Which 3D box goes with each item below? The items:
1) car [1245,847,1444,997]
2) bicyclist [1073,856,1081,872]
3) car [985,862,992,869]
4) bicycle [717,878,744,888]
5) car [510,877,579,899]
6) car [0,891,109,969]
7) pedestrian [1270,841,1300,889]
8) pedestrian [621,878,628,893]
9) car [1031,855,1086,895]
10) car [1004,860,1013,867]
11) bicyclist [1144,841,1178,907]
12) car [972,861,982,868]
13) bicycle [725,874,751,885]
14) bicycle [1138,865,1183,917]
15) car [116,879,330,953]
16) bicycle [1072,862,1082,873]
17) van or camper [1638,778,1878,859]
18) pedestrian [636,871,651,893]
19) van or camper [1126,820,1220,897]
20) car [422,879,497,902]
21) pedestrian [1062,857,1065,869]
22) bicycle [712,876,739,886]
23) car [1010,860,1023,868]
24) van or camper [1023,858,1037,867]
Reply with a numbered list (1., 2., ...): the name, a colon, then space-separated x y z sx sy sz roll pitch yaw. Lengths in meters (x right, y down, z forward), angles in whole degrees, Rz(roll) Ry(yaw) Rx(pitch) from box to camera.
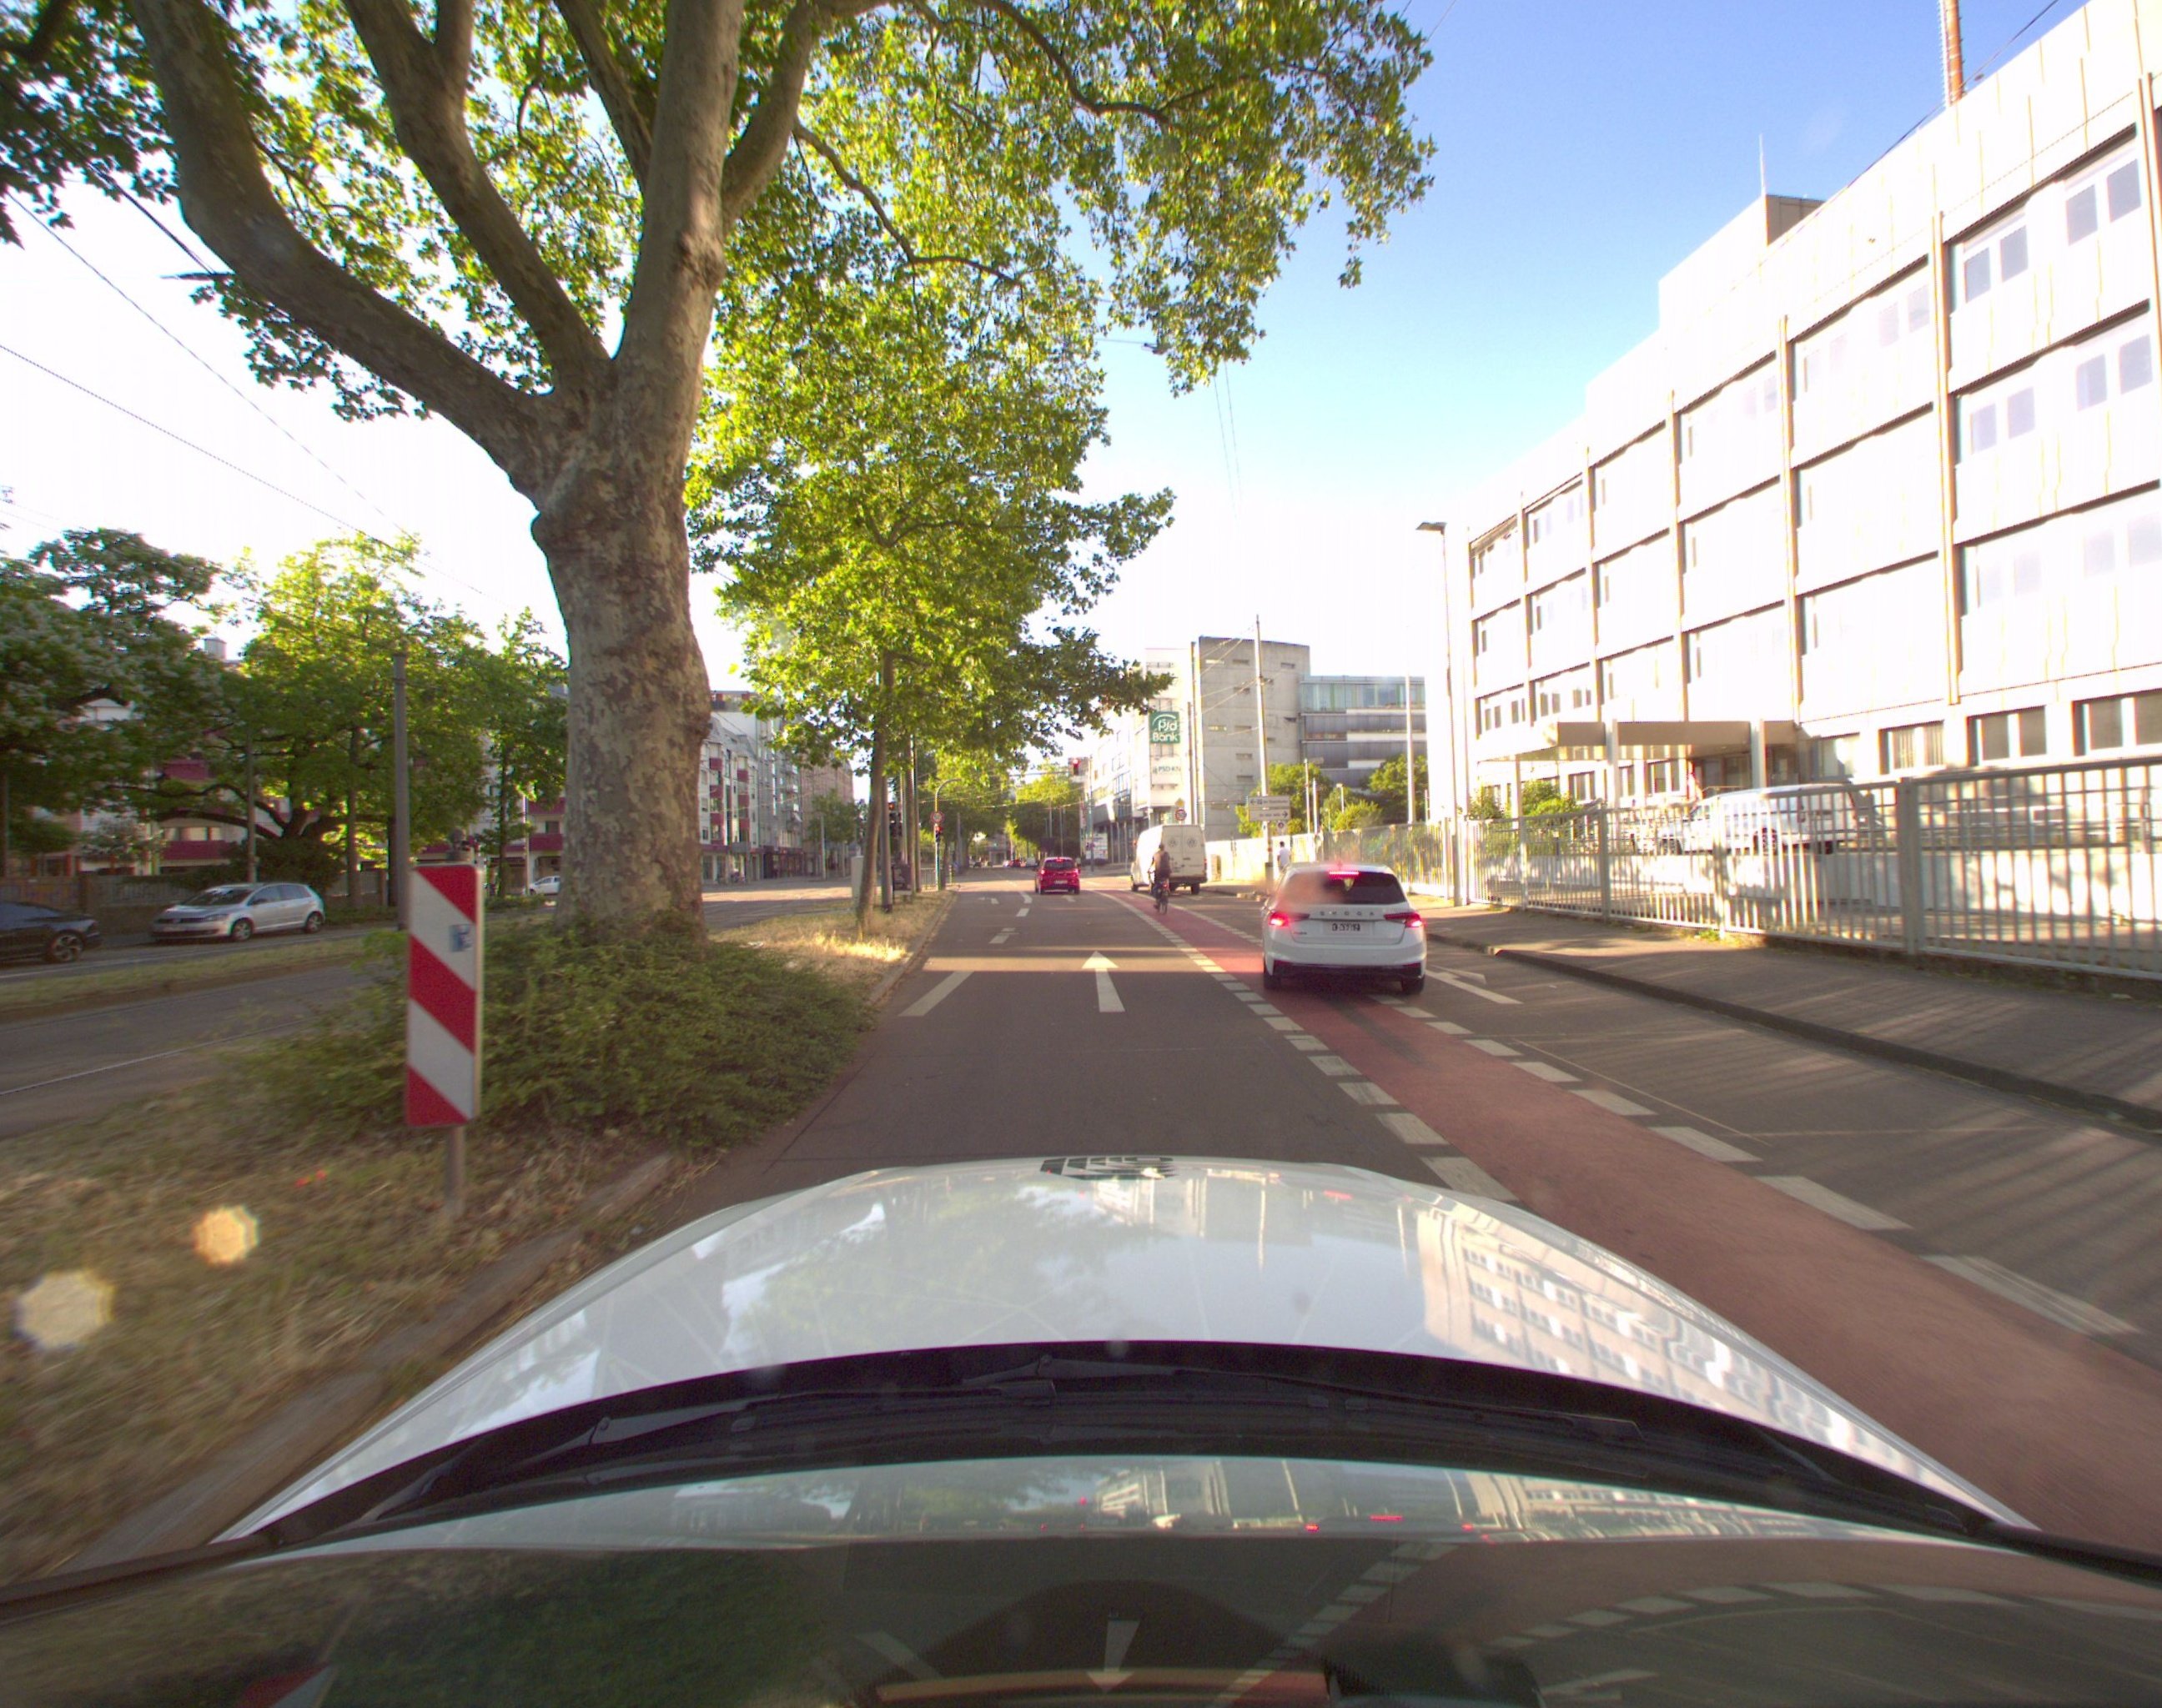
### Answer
1. car: 3.062 0.703 10.259 1.791 1.501 3.992 -1 0 9
2. bicyclist: -0.449 1.022 85.951 0.784 1.635 0.637 -2 0 -6
3. car: -23.577 2.945 207.637 1.657 1.607 3.520 -3 0 -9
4. bicycle: -32.524 2.670 75.626 2.170 0.787 0.490 -2 0 -12
5. car: -40.801 2.568 62.062 4.000 1.464 1.790 -3 0 -20
6. car: -22.499 1.594 15.871 1.994 1.476 4.633 -2 0 -10
7. pedestrian: 7.734 0.411 30.889 0.786 1.748 0.770 -3 0 -9
8. pedestrian: -36.198 2.502 64.562 0.304 1.214 0.317 -3 0 -13
9. car: -0.995 0.836 33.592 1.838 1.489 3.706 -2 0 -8
10. car: -17.935 2.288 201.501 1.885 1.528 4.415 -3 0 -11
11. bicyclist: 2.038 0.502 20.870 0.742 1.669 0.743 0 0 -6
12. car: -25.414 2.597 198.529 2.059 1.654 3.477 -3 0 -13
13. bicycle: -32.709 2.417 77.619 2.170 0.951 0.490 -2 0 -12
14. bicycle: 2.023 0.913 21.015 0.743 1.224 2.151 0 0 -6
15. car: -23.803 1.644 22.881 1.994 1.689 4.163 -2 0 -10
16. bicycle: -0.422 1.397 85.849 0.791 1.161 2.494 -2 0 -6
17. van or camper: 18.278 -0.866 22.396 1.980 1.909 4.984 -3 0 -9
18. pedestrian: -34.055 2.183 63.407 0.709 1.662 1.029 -3 0 -12
19. van or camper: 3.480 0.187 32.307 2.267 2.733 6.330 0 0 -7
20. car: -45.887 2.676 60.222 4.001 1.464 1.789 -3 0 -20
21. pedestrian: -2.169 1.118 103.649 0.293 1.562 0.301 -2 0 -6
22. bicycle: -32.681 2.512 74.837 2.170 0.787 0.638 -2 0 -12
23. car: -14.344 2.171 179.842 2.478 1.528 4.417 -3 0 -9
24. van or camper: -9.972 1.675 158.463 2.146 1.750 4.415 -3 0 -11
